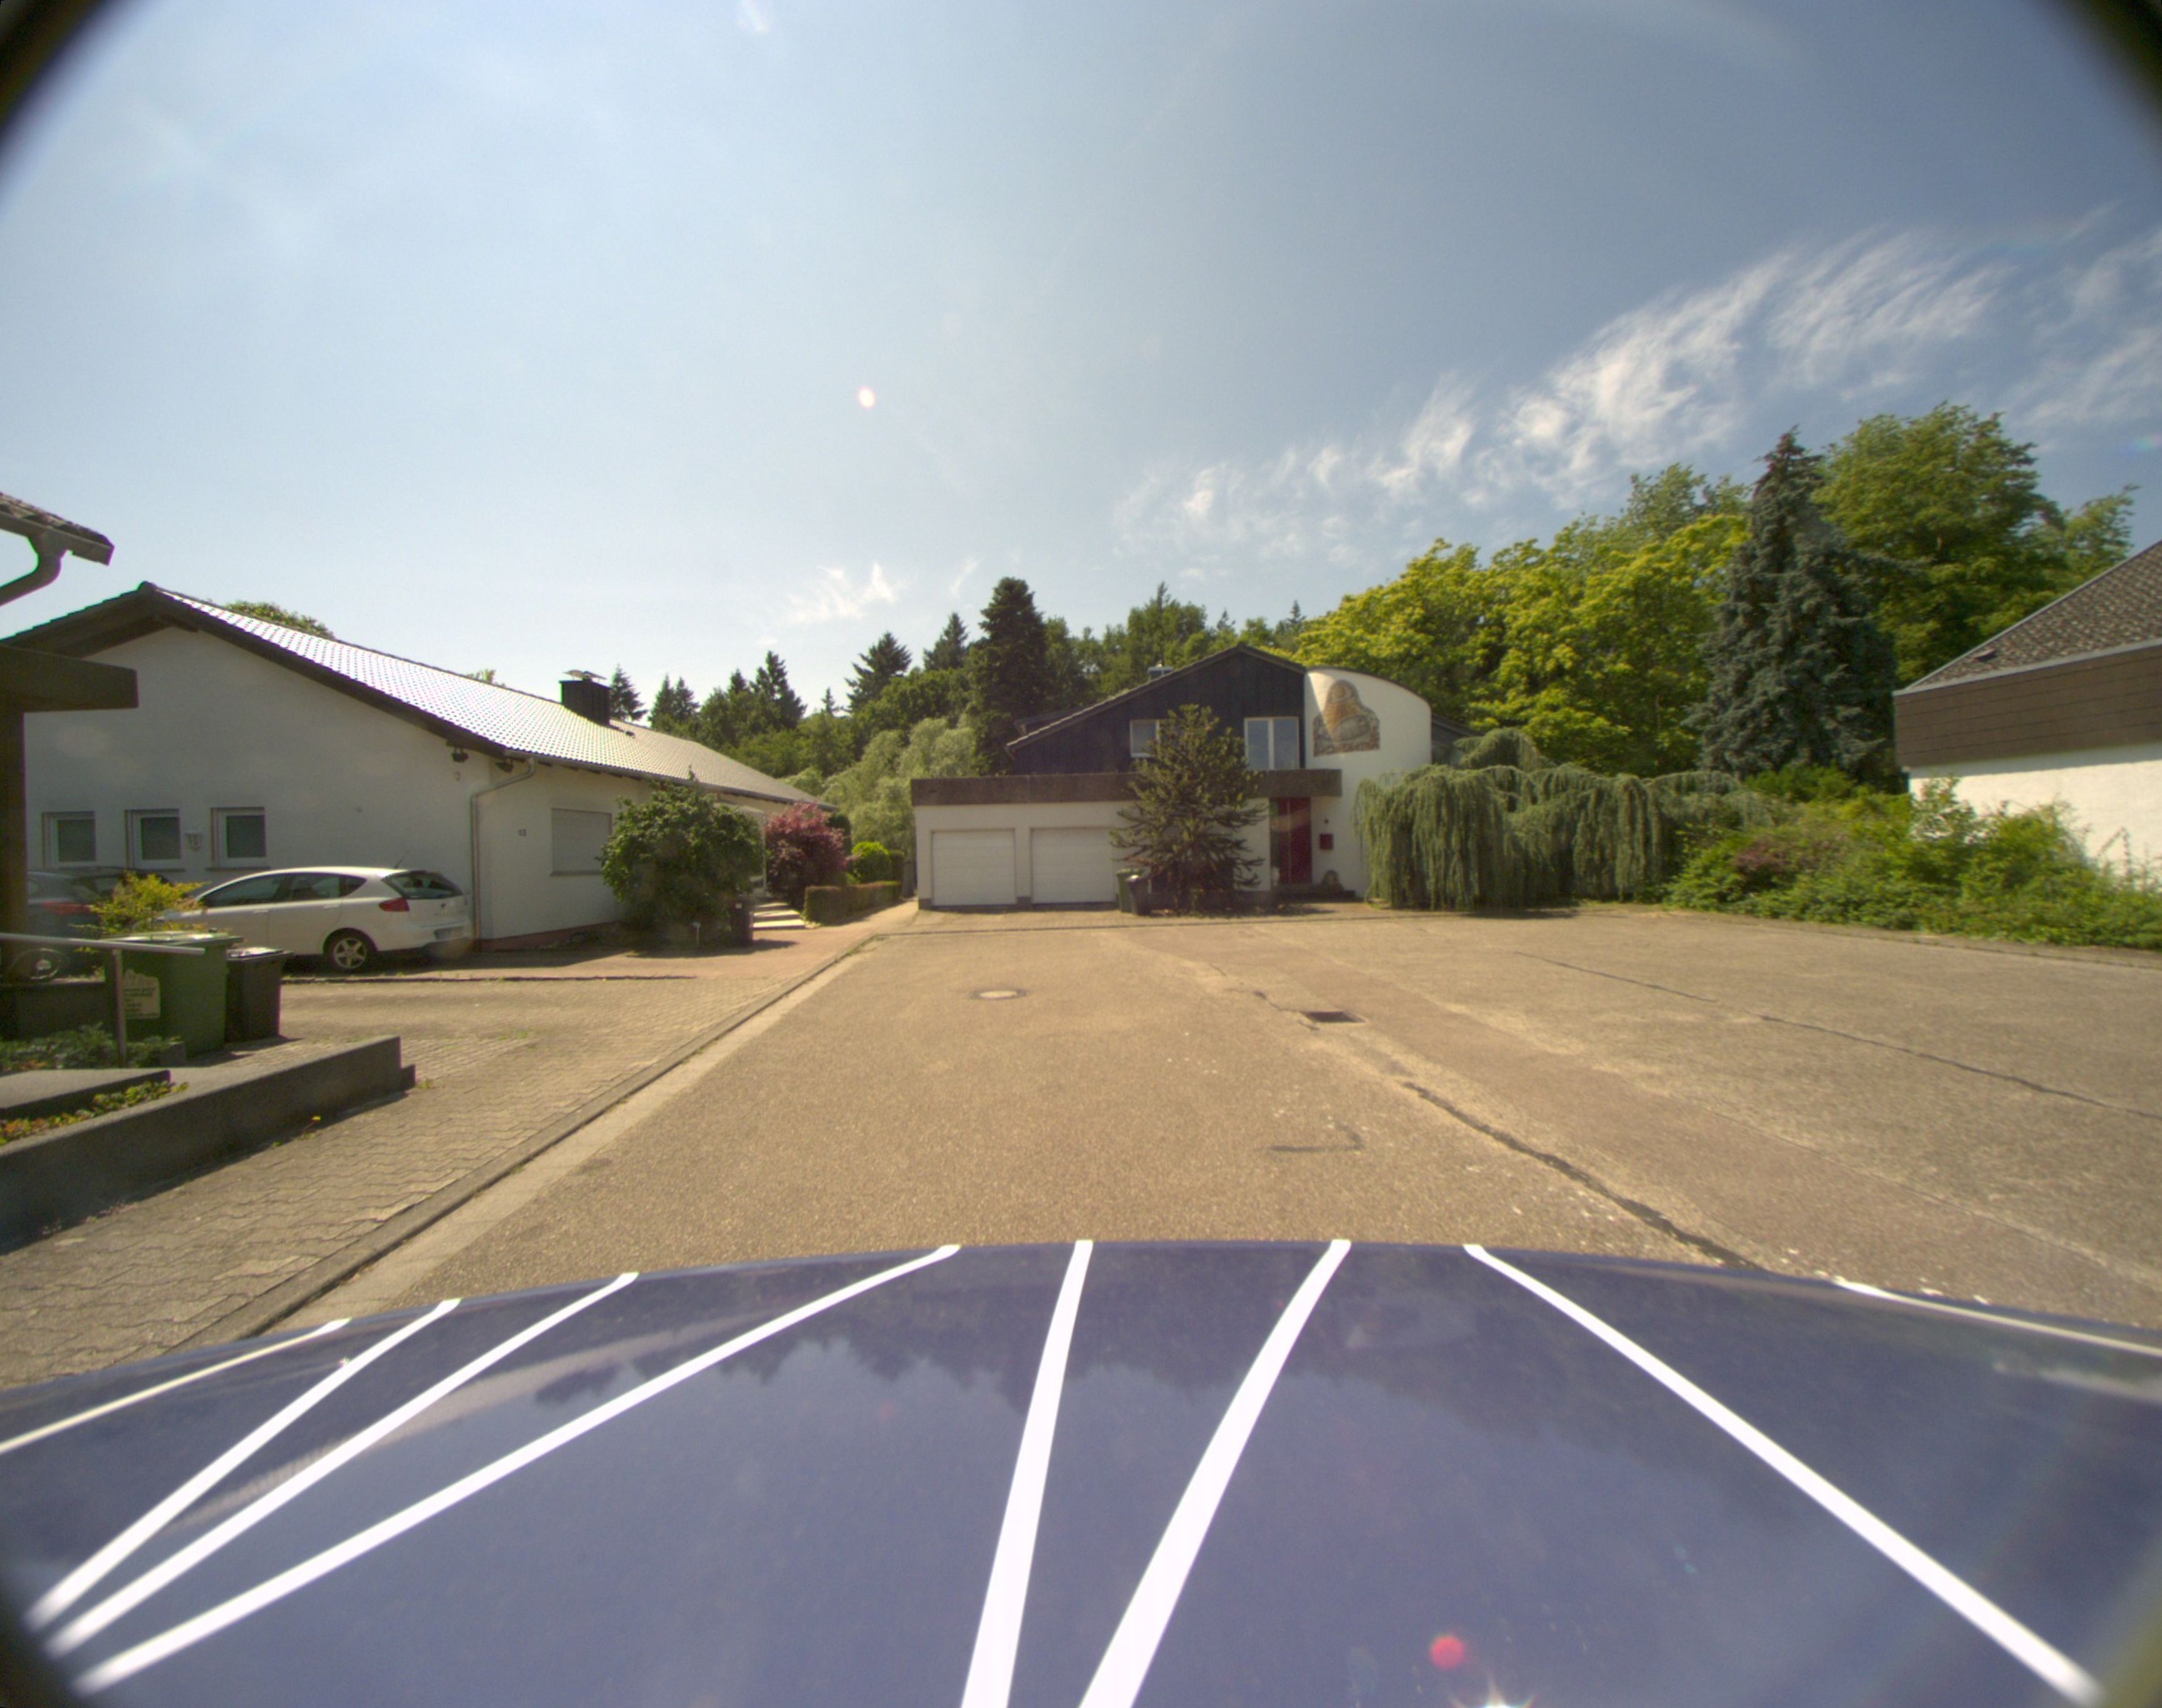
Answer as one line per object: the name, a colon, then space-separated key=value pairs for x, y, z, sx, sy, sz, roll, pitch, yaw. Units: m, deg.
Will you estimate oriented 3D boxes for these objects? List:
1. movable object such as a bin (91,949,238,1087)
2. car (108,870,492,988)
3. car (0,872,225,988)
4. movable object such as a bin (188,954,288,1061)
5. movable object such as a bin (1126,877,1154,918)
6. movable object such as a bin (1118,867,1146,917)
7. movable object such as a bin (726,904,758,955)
movable object such as a bin: x=-7.817 y=1.377 z=6.509 sx=0.491 sy=1.035 sz=0.592 roll=-1 pitch=1 yaw=-7
car: x=-11.912 y=1.091 z=11.824 sx=3.998 sy=1.559 sz=1.751 roll=-1 pitch=1 yaw=-3
car: x=-16.552 y=1.134 z=11.926 sx=3.997 sy=1.599 sz=1.929 roll=-1 pitch=1 yaw=1
movable object such as a bin: x=-7.795 y=1.405 z=7.039 sx=0.426 sy=0.886 sz=0.407 roll=-1 pitch=1 yaw=-7
movable object such as a bin: x=1.423 y=1.042 z=18.205 sx=0.524 sy=0.944 sz=0.388 roll=-2 pitch=1 yaw=-26
movable object such as a bin: x=1.262 y=0.935 z=18.926 sx=0.633 sy=1.196 sz=0.551 roll=-1 pitch=1 yaw=1
movable object such as a bin: x=-6.217 y=1.379 z=13.959 sx=0.390 sy=0.886 sz=0.375 roll=-1 pitch=2 yaw=0
